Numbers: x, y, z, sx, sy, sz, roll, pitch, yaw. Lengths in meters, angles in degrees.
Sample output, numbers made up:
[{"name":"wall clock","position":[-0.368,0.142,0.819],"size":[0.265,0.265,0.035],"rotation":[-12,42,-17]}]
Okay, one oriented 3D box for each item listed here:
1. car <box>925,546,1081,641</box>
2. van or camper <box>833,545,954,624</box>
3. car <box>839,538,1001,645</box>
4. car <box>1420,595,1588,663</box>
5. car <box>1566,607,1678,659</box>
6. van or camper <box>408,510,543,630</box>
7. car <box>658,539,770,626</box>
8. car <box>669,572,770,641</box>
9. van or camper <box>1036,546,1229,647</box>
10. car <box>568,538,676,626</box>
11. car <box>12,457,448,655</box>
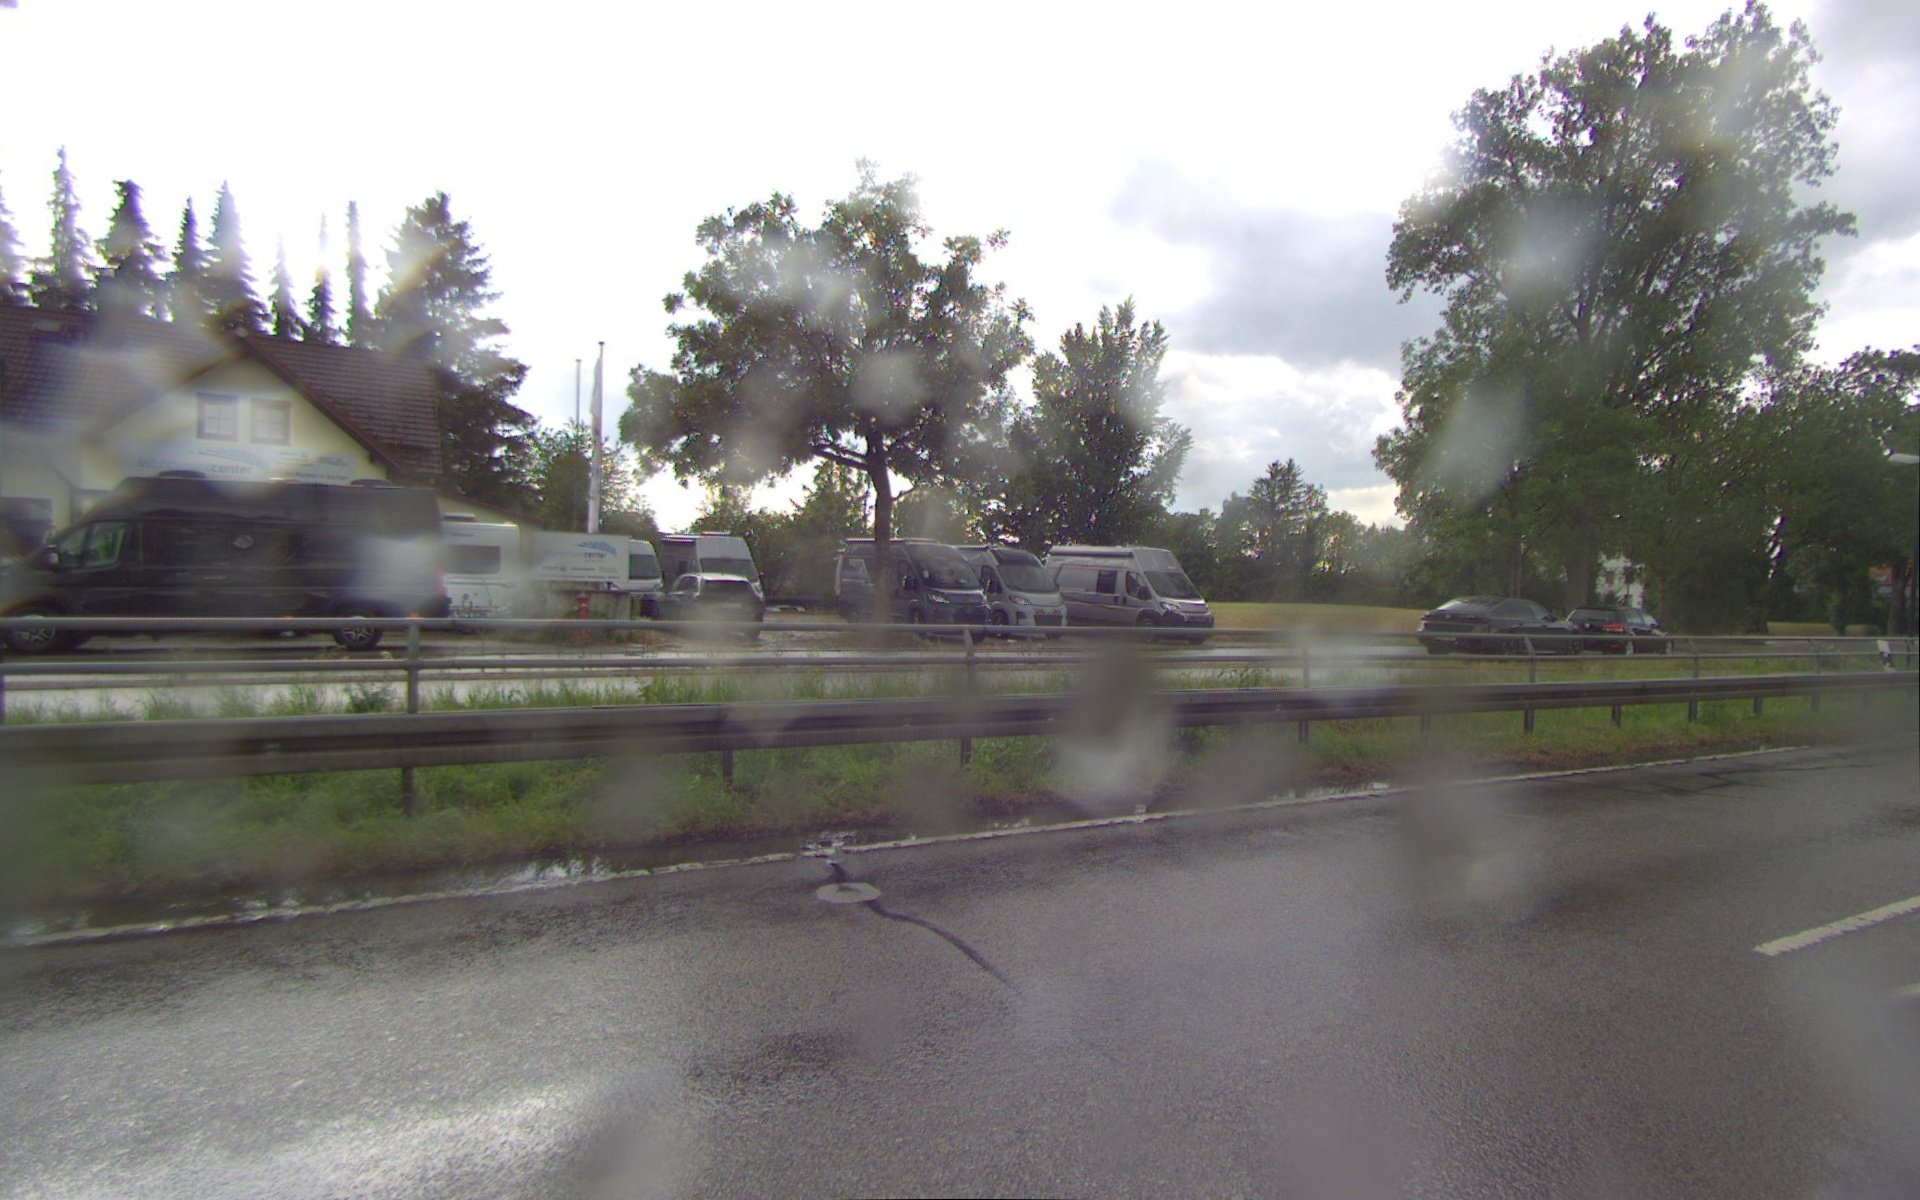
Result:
[{"name":"car","position":[1.110,-0.243,29.152],"size":[1.978,2.492,5.063],"rotation":[1,2,-32]},{"name":"van or camper","position":[-2.546,-0.610,36.701],"size":[1.977,2.625,5.775],"rotation":[1,2,-30]},{"name":"car","position":[-1.200,-0.278,26.685],"size":[1.978,2.535,5.154],"rotation":[1,2,-32]},{"name":"car","position":[13.636,0.703,25.048],"size":[5.069,1.511,1.505],"rotation":[1,1,-35]},{"name":"car","position":[18.906,0.926,28.640],"size":[3.858,1.349,1.274],"rotation":[1,1,-34]},{"name":"van or camper","position":[-12.362,-0.753,25.346],"size":[2.532,2.626,6.191],"rotation":[1,2,-30]},{"name":"car","position":[-8.289,-0.607,33.348],"size":[2.066,2.573,6.064],"rotation":[1,1,-29]},{"name":"car","position":[-5.978,0.112,24.656],"size":[1.521,1.516,3.868],"rotation":[1,2,-27]},{"name":"van or camper","position":[4.941,-0.186,29.730],"size":[2.061,2.713,5.835],"rotation":[1,2,-35]},{"name":"car","position":[-10.667,-0.597,31.352],"size":[2.066,2.449,6.064],"rotation":[1,1,-29]},{"name":"car","position":[-11.736,-0.615,16.745],"size":[5.511,2.800,2.370],"rotation":[1,2,-32]}]
